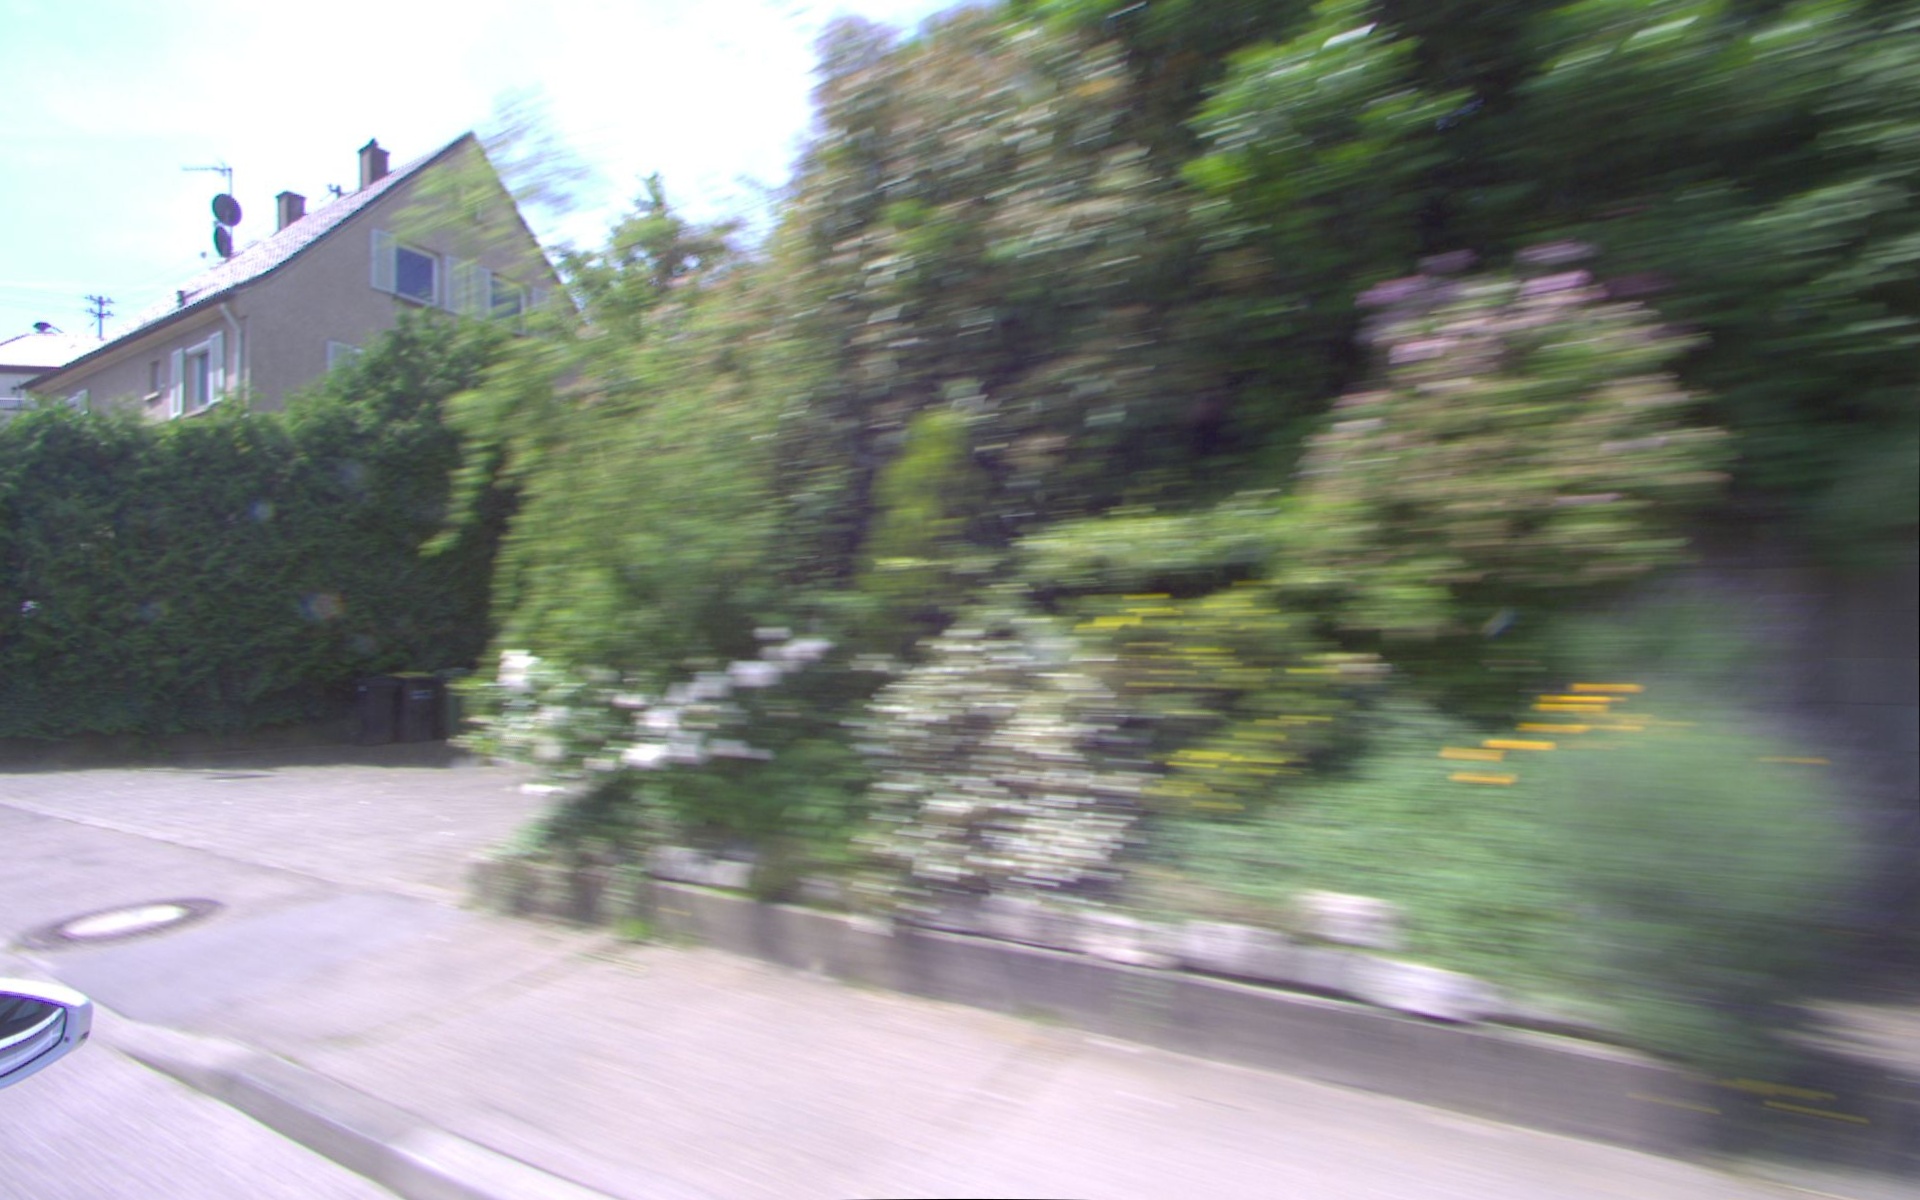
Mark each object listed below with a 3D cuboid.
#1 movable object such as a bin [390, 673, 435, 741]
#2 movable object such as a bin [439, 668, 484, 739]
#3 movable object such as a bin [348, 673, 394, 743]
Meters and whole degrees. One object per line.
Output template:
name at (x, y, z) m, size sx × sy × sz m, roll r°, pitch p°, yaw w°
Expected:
movable object such as a bin at (-8.188, 1.593, 14.990) m, size 0.466 × 0.985 × 0.386 m, roll -1°, pitch -2°, yaw 31°
movable object such as a bin at (-7.727, 1.595, 15.522) m, size 0.466 × 1.064 × 0.400 m, roll -1°, pitch -2°, yaw 31°
movable object such as a bin at (-8.576, 1.560, 14.581) m, size 0.466 × 0.985 × 0.386 m, roll -1°, pitch -2°, yaw 31°
